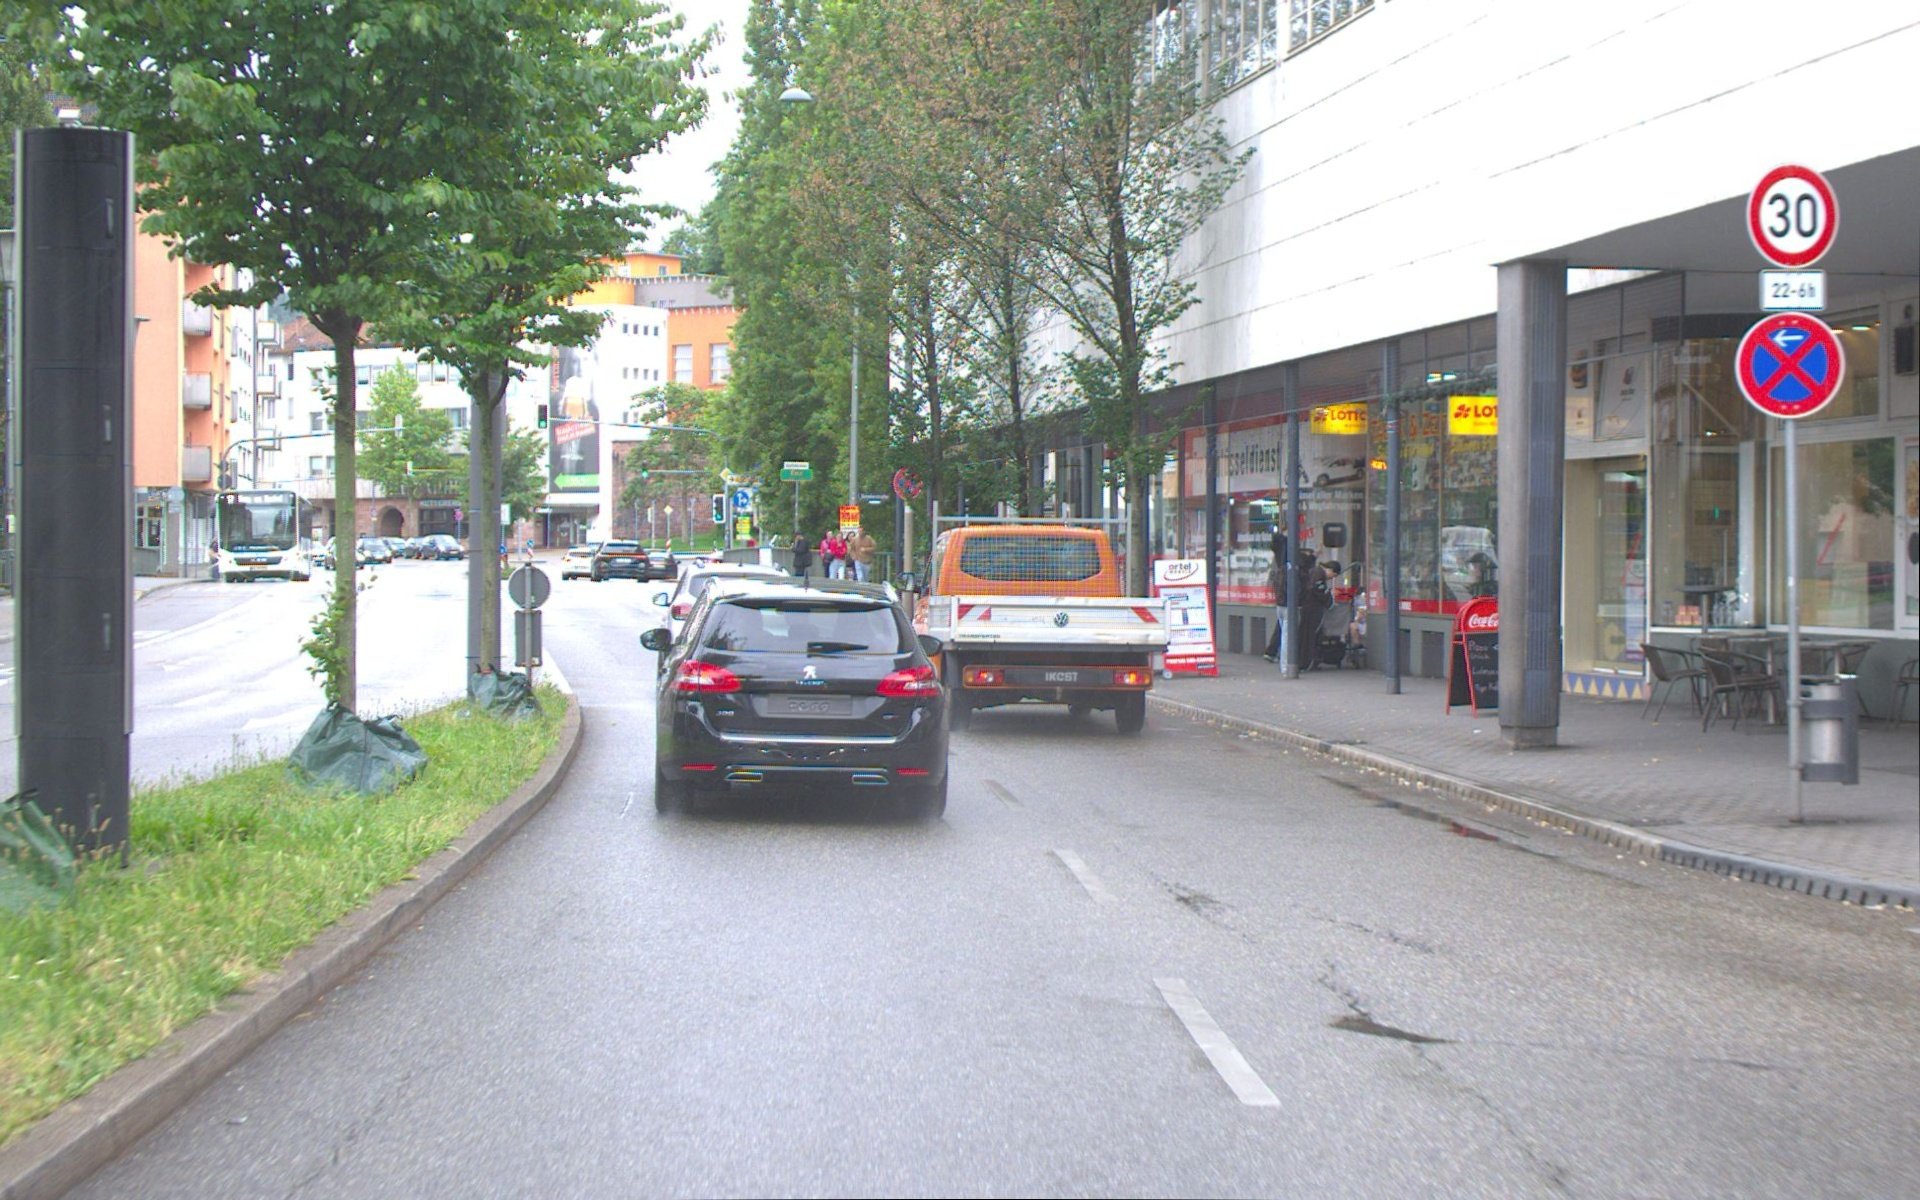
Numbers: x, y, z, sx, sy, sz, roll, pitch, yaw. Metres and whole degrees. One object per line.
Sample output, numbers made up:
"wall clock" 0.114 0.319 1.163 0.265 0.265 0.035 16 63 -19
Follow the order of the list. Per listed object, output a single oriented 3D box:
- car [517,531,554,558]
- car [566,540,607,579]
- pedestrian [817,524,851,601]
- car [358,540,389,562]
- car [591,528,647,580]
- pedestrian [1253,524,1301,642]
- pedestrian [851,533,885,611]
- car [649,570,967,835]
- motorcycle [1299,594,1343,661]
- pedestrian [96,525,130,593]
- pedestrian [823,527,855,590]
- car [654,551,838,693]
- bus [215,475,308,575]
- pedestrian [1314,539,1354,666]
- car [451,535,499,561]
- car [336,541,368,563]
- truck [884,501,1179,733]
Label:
"car" -26.242 -3.435 212.351 1.993 1.678 4.001 0 1 -12
"car" -17.009 -1.820 156.381 1.644 1.559 3.600 3 -2 -8
"pedestrian" -2.927 -0.877 79.947 0.653 1.761 0.923 -1 1 -8
"car" -36.134 -3.016 211.690 1.791 1.320 4.408 0 1 -11
"car" -11.526 -1.543 115.948 1.644 1.559 3.600 3 -2 -8
"pedestrian" 4.210 -0.229 45.605 0.430 1.561 0.508 1 2 38
"pedestrian" -2.141 -0.663 79.996 0.698 1.795 0.607 -1 1 -8
"car" -0.931 0.591 21.945 1.795 1.478 4.000 2 0 -1
"motorcycle" 4.506 0.341 42.926 0.324 0.801 0.920 -1 2 -8
"pedestrian" -22.419 -1.089 90.982 0.698 1.788 0.959 1 0 -5
"pedestrian" -3.072 -1.051 87.207 0.725 1.584 0.607 -1 1 -8
"car" -2.419 0.205 37.963 1.794 1.478 4.001 0 1 -7
"bus" -23.356 -2.597 115.406 2.743 3.065 12.241 0 2 -10
"pedestrian" 4.652 0.024 42.785 0.387 1.561 0.430 -1 1 -10
"car" -31.504 -3.371 223.244 1.644 1.559 3.600 4 -2 -33
"car" -36.057 -2.845 204.022 1.791 1.320 4.408 0 1 -9
"truck" 0.592 0.151 33.018 2.121 2.018 4.716 2 0 -7
